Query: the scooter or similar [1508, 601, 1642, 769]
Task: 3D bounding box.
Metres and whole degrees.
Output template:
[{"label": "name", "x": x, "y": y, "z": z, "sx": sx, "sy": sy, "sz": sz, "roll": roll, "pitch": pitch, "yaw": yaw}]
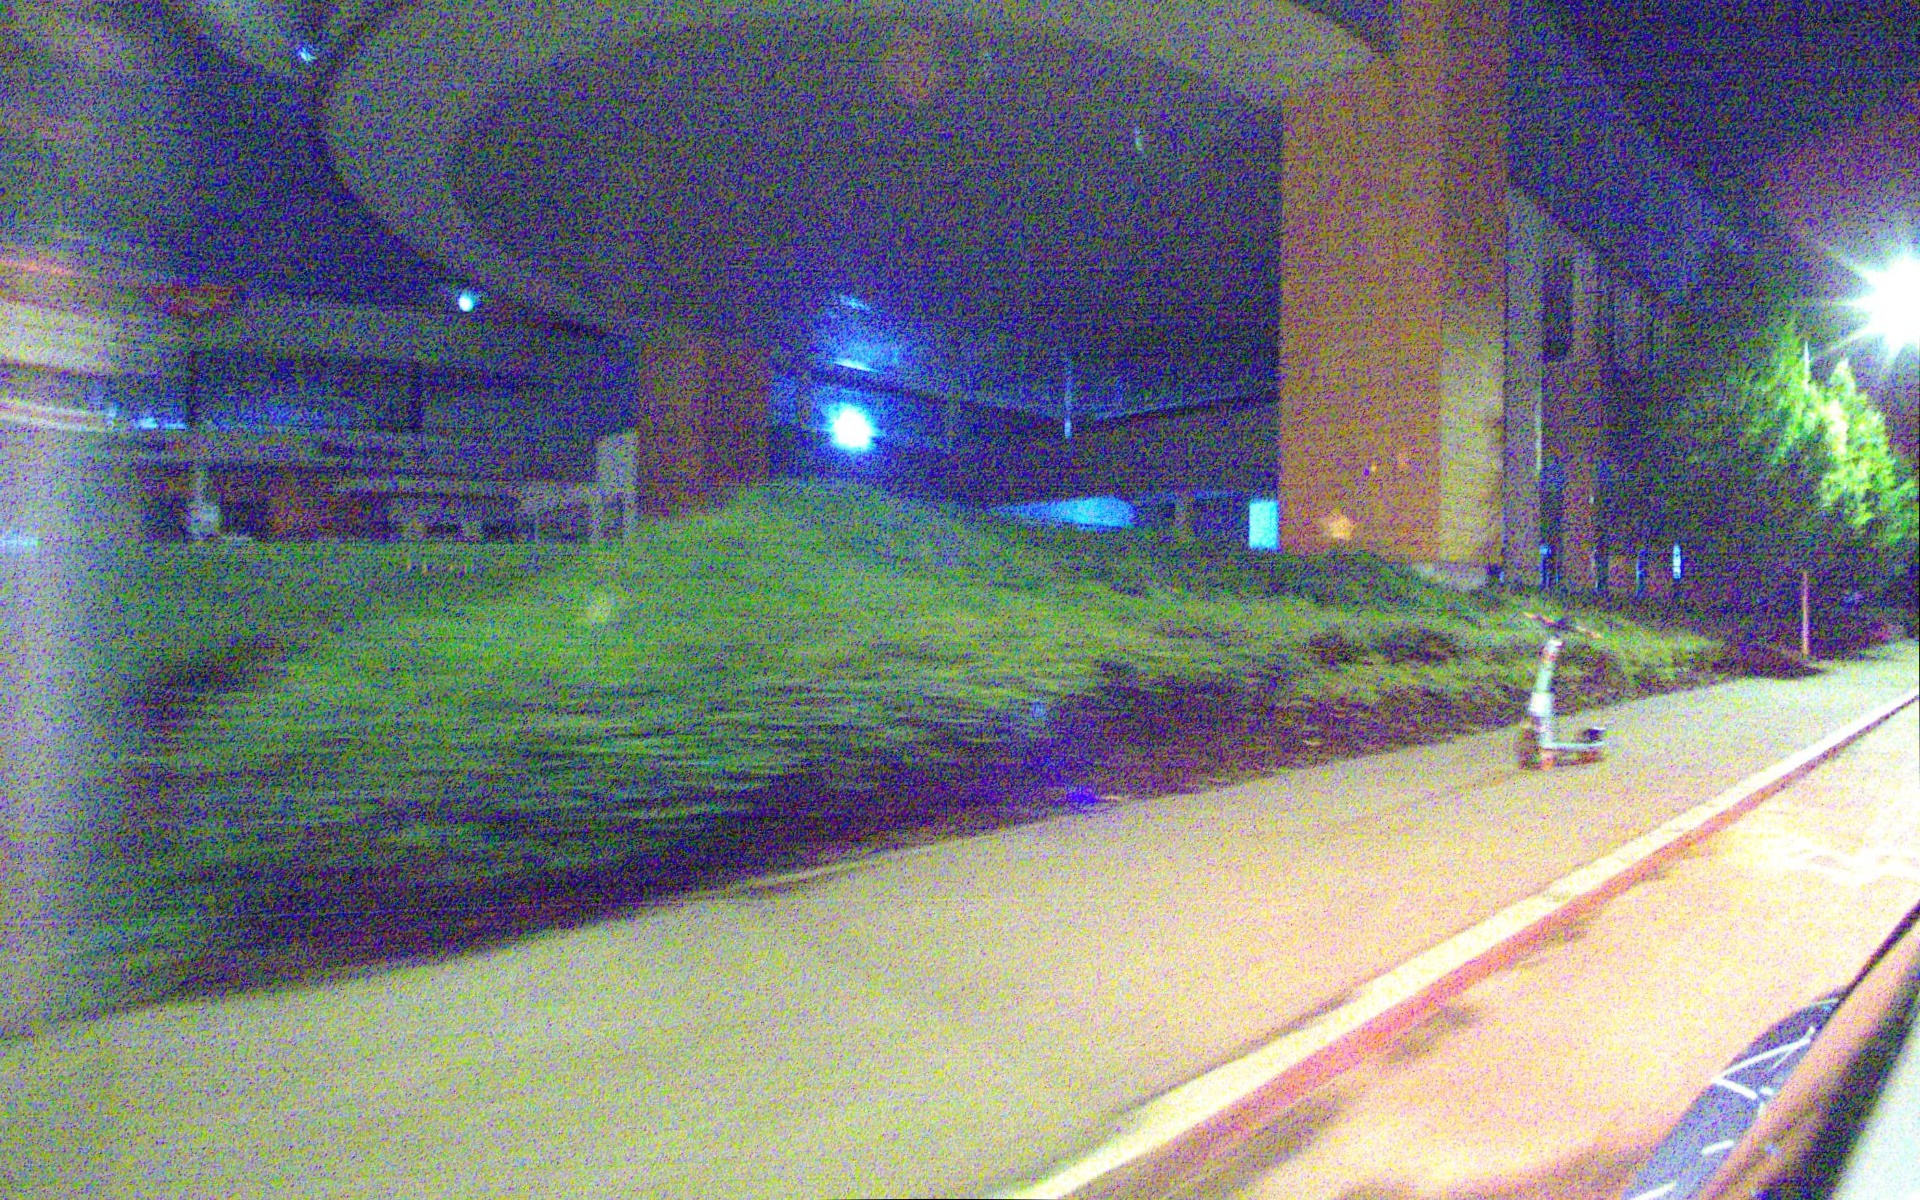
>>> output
[{"label": "scooter or similar", "x": 5.141, "y": 0.659, "z": 8.437, "sx": 1.296, "sy": 1.277, "sz": 0.495, "roll": 0, "pitch": 3, "yaw": -40}]
